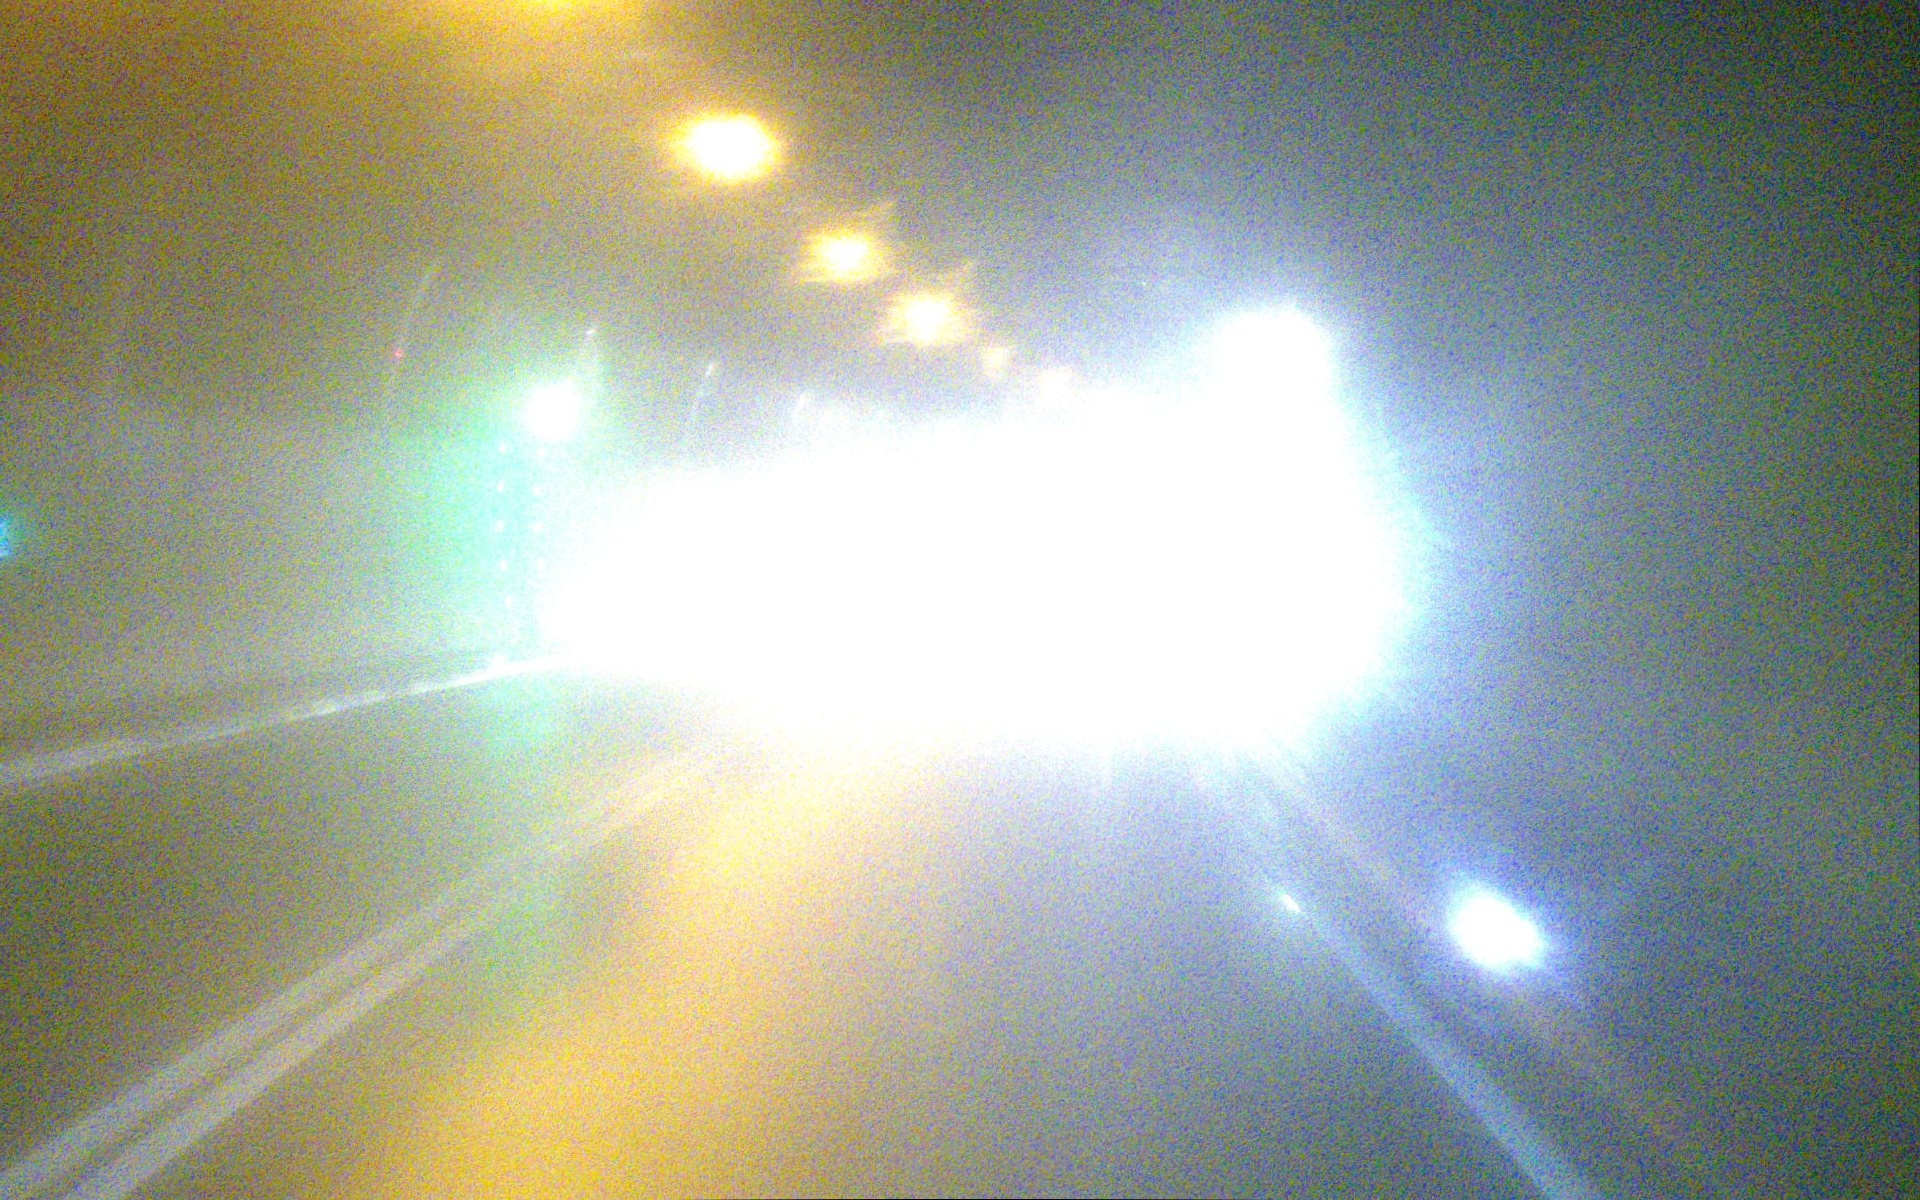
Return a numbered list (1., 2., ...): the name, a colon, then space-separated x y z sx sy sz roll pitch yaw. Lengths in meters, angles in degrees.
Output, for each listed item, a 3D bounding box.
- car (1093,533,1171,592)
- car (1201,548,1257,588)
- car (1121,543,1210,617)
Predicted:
1. car: 4.992 -1.105 99.469 1.994 1.645 3.999 1 1 6
2. car: 9.999 -1.197 127.911 1.845 1.469 4.000 0 1 1
3. car: 4.858 -0.487 80.735 1.994 1.645 4.000 1 1 4
